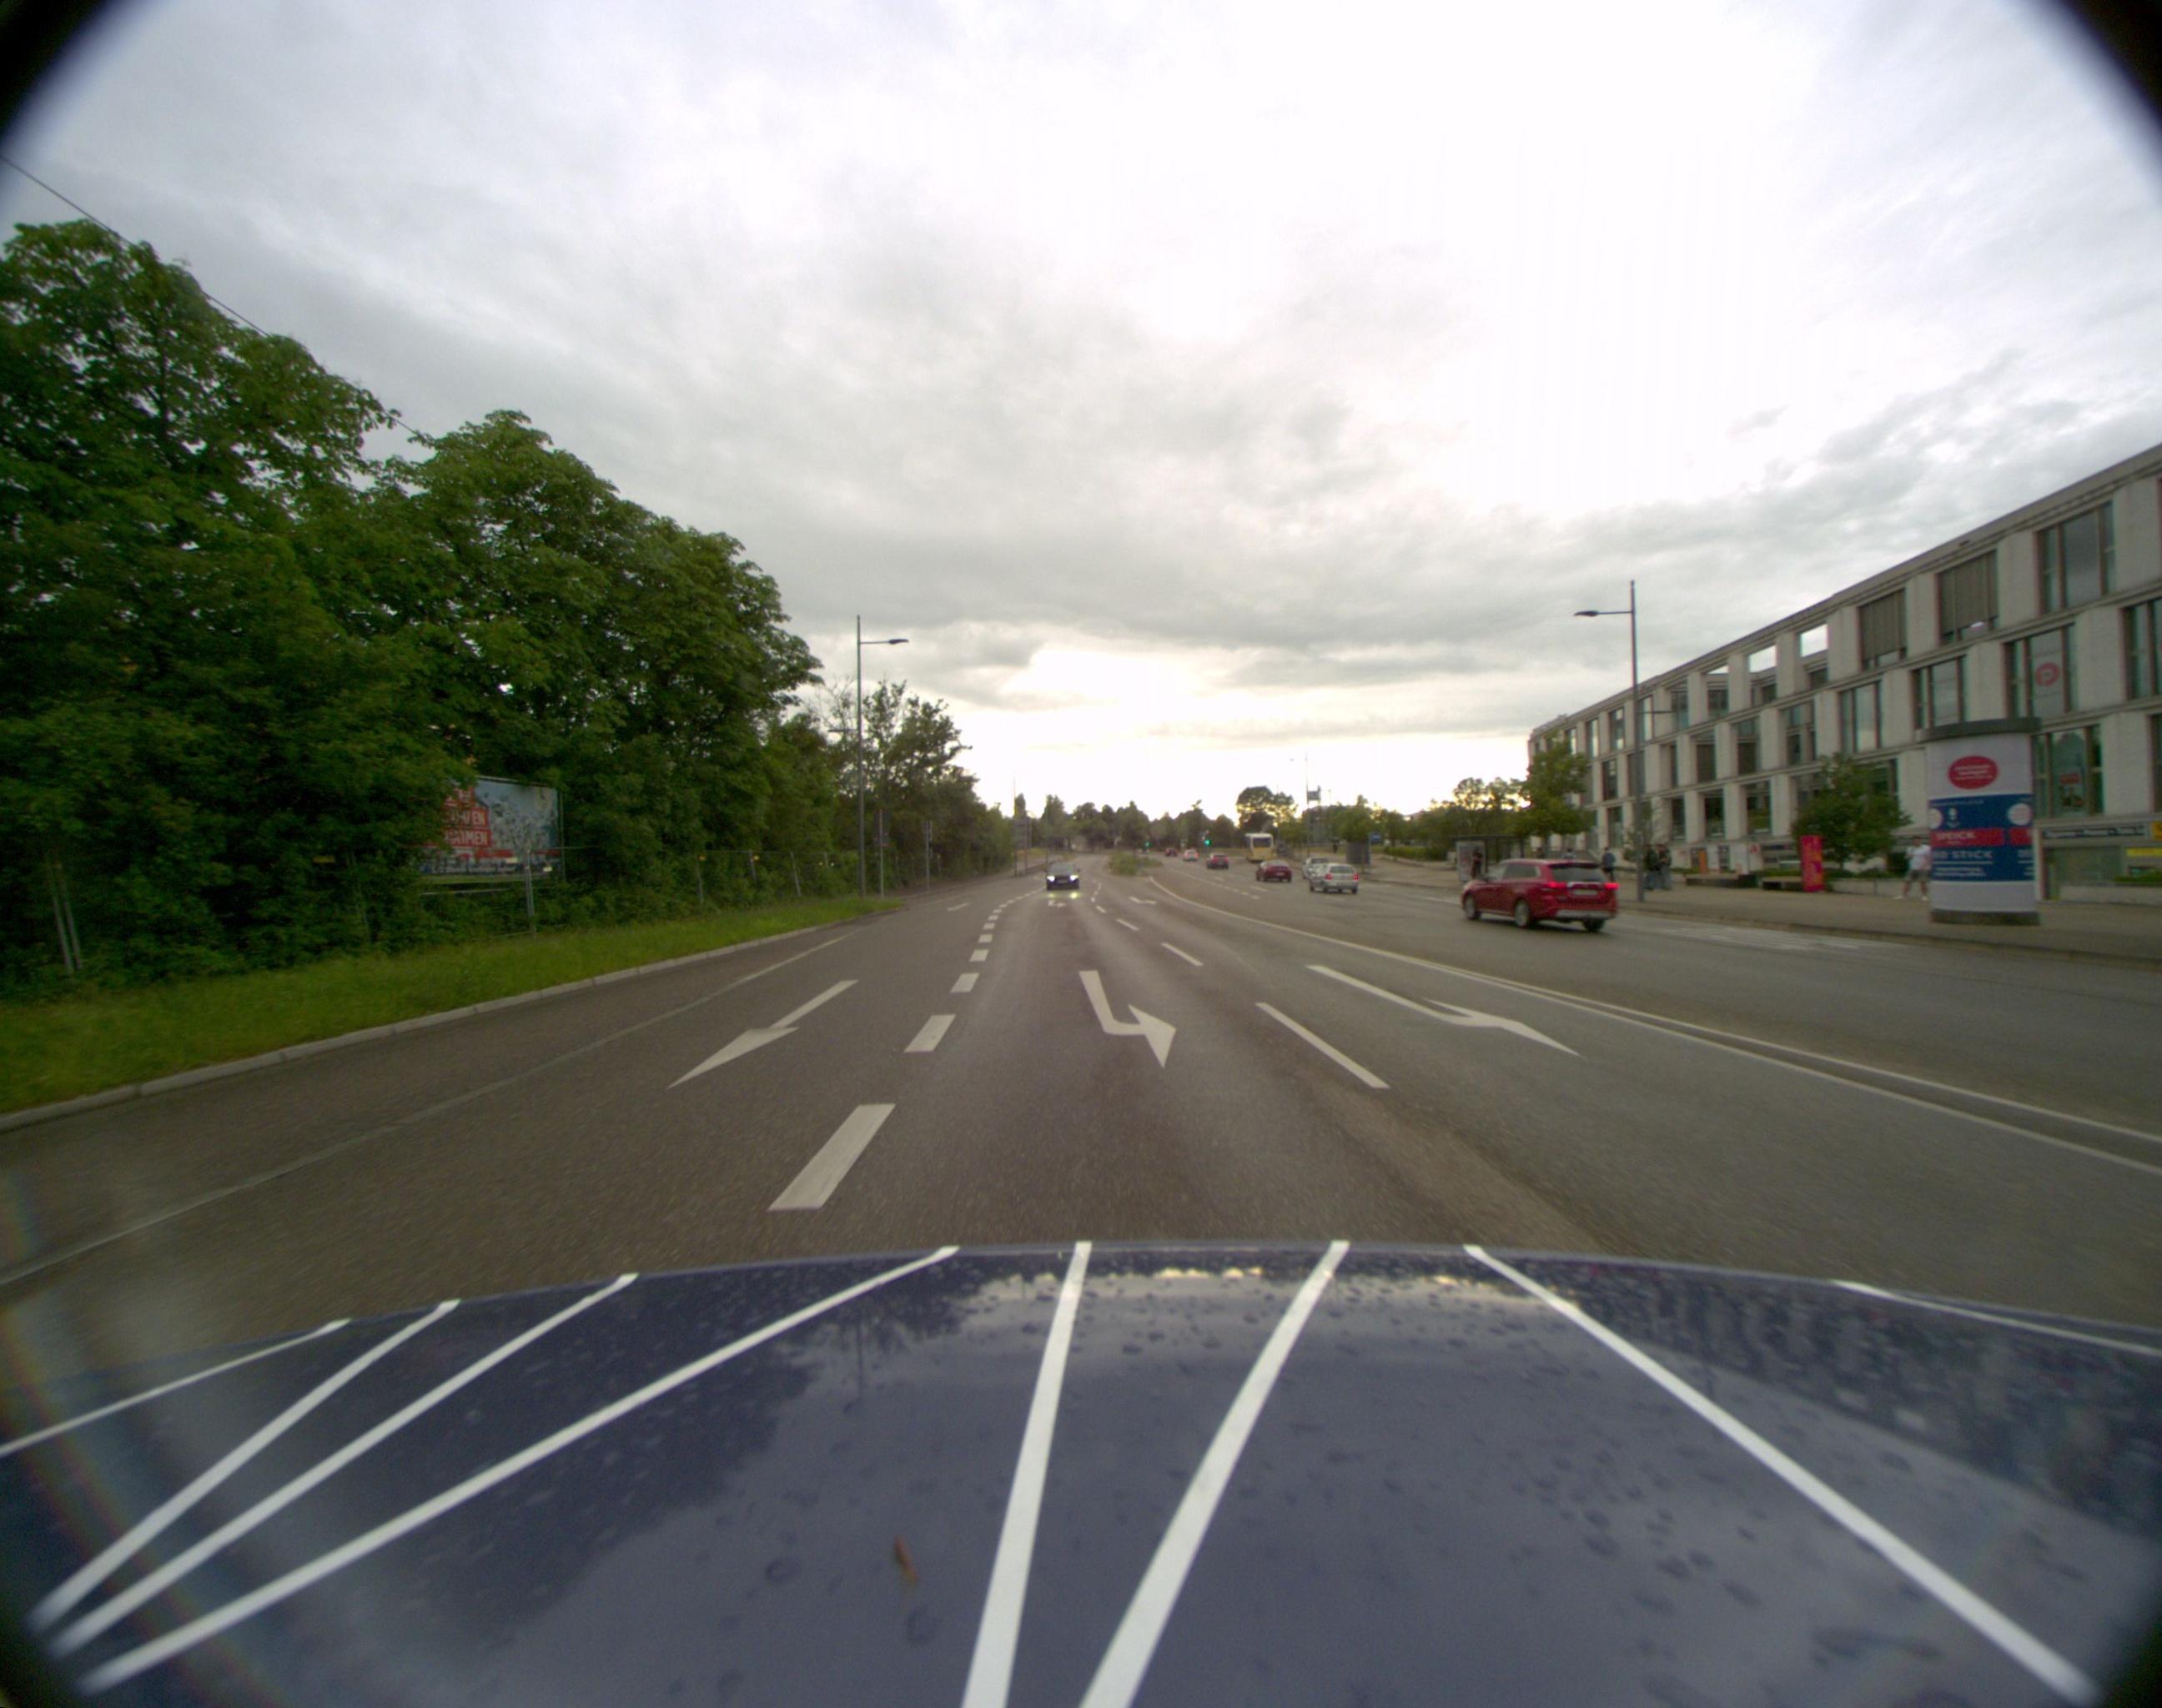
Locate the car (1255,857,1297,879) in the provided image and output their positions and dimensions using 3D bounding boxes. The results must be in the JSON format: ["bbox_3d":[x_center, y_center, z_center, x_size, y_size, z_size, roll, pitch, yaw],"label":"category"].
[{"bbox_3d":[13.129,0.906,51.453,1.836,1.408,4.466,1,0,3],"label":"car"}]

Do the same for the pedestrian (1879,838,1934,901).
[{"bbox_3d":[22.631,0.410,20.843,0.499,1.680,0.914,-1,1,-14],"label":"pedestrian"}]

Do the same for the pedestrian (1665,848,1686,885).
[{"bbox_3d":[23.061,0.475,29.482,0.427,1.443,0.510,-1,1,3],"label":"pedestrian"}]

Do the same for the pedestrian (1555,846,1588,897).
[{"bbox_3d":[17.768,0.632,27.545,0.755,1.831,0.746,-1,1,5],"label":"pedestrian"}]

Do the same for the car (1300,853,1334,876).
[{"bbox_3d":[17.070,0.742,54.990,1.617,1.499,2.972,-2,1,3],"label":"car"}]

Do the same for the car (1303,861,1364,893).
[{"bbox_3d":[12.194,1.079,36.933,1.766,1.408,3.879,1,0,3],"label":"car"}]

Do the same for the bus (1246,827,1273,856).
[{"bbox_3d":[23.705,-1.725,101.335,2.826,3.453,9.978,-2,2,10],"label":"bus"}]

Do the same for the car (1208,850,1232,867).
[{"bbox_3d":[14.518,0.438,79.524,1.836,1.563,4.593,1,1,3],"label":"car"}]

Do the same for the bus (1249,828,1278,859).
[{"bbox_3d":[22.114,-1.371,92.372,2.826,3.453,8.234,-2,2,10],"label":"bus"}]

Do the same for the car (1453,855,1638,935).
[{"bbox_3d":[11.303,0.900,18.964,1.857,1.673,4.738,1,0,3],"label":"car"}]

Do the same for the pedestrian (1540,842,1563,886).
[{"bbox_3d":[20.115,0.437,32.480,0.581,1.845,0.607,-1,1,1],"label":"pedestrian"}]

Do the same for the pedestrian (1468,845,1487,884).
[{"bbox_3d":[19.048,0.506,36.525,0.508,1.831,0.755,-1,1,2],"label":"pedestrian"}]

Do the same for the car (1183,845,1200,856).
[{"bbox_3d":[15.275,-0.452,105.041,1.877,1.422,4.176,1,1,3],"label":"car"}]

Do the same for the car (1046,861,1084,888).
[{"bbox_3d":[-0.918,1.092,42.614,1.990,1.391,4.176,-2,0,-2],"label":"car"}]

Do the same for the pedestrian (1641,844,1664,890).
[{"bbox_3d":[21.724,0.474,28.887,0.427,1.715,0.621,-1,1,3],"label":"pedestrian"}]

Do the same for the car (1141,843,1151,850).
[{"bbox_3d":[14.133,-1.613,166.385,1.998,1.410,4.513,-2,1,3],"label":"car"}]

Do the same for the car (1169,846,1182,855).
[{"bbox_3d":[16.049,-0.541,129.198,1.851,1.454,3.867,0,1,3],"label":"car"}]

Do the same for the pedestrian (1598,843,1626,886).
[{"bbox_3d":[22.172,0.443,31.724,0.599,1.752,0.857,-1,1,5],"label":"pedestrian"}]
